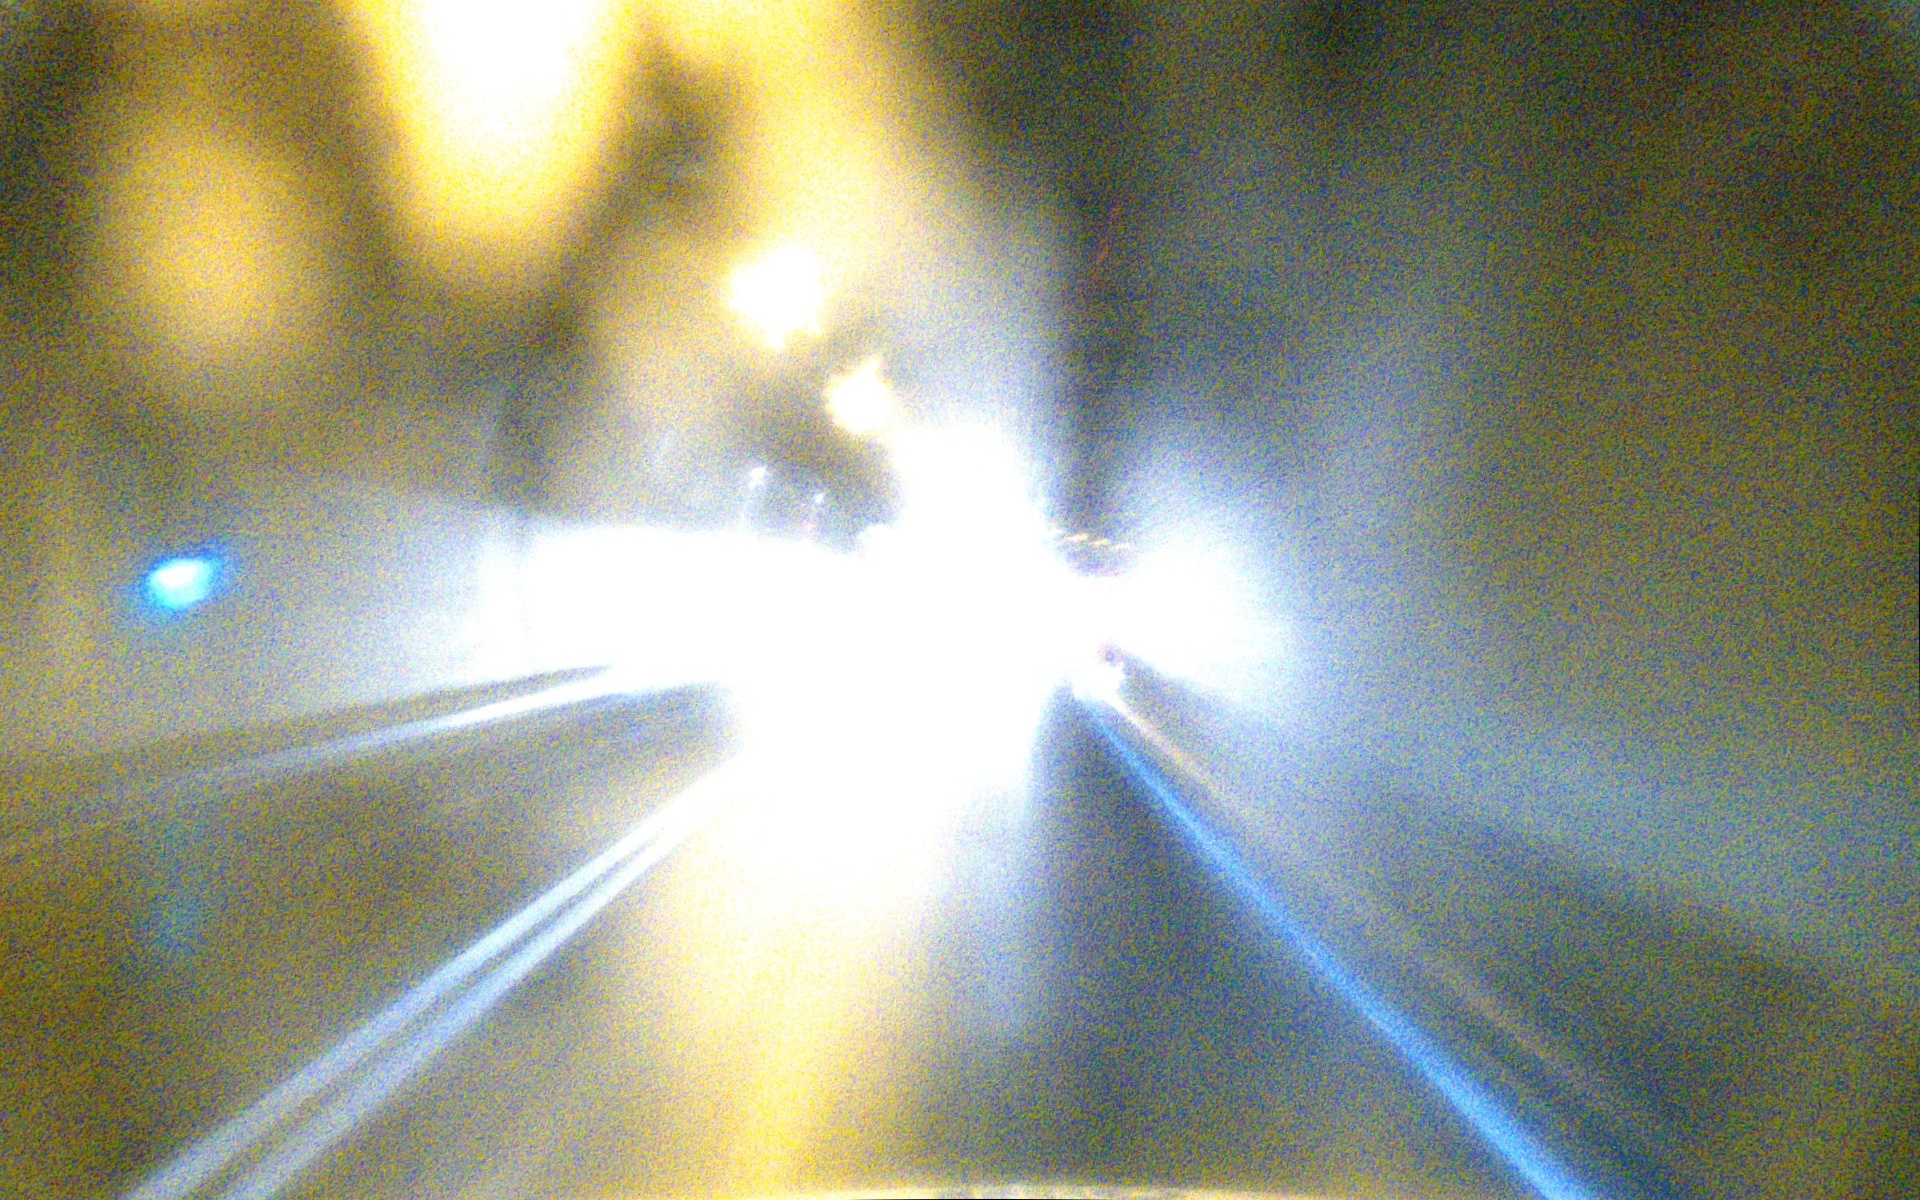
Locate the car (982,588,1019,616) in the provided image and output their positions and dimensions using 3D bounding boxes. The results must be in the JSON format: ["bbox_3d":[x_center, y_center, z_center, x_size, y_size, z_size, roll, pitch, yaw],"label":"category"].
[{"bbox_3d":[2.111,0.072,85.002,1.676,1.402,4.588,0,1,4],"label":"car"}]

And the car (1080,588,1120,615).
[{"bbox_3d":[8.957,0.071,105.622,1.951,1.679,4.003,-1,0,14],"label":"car"}]
